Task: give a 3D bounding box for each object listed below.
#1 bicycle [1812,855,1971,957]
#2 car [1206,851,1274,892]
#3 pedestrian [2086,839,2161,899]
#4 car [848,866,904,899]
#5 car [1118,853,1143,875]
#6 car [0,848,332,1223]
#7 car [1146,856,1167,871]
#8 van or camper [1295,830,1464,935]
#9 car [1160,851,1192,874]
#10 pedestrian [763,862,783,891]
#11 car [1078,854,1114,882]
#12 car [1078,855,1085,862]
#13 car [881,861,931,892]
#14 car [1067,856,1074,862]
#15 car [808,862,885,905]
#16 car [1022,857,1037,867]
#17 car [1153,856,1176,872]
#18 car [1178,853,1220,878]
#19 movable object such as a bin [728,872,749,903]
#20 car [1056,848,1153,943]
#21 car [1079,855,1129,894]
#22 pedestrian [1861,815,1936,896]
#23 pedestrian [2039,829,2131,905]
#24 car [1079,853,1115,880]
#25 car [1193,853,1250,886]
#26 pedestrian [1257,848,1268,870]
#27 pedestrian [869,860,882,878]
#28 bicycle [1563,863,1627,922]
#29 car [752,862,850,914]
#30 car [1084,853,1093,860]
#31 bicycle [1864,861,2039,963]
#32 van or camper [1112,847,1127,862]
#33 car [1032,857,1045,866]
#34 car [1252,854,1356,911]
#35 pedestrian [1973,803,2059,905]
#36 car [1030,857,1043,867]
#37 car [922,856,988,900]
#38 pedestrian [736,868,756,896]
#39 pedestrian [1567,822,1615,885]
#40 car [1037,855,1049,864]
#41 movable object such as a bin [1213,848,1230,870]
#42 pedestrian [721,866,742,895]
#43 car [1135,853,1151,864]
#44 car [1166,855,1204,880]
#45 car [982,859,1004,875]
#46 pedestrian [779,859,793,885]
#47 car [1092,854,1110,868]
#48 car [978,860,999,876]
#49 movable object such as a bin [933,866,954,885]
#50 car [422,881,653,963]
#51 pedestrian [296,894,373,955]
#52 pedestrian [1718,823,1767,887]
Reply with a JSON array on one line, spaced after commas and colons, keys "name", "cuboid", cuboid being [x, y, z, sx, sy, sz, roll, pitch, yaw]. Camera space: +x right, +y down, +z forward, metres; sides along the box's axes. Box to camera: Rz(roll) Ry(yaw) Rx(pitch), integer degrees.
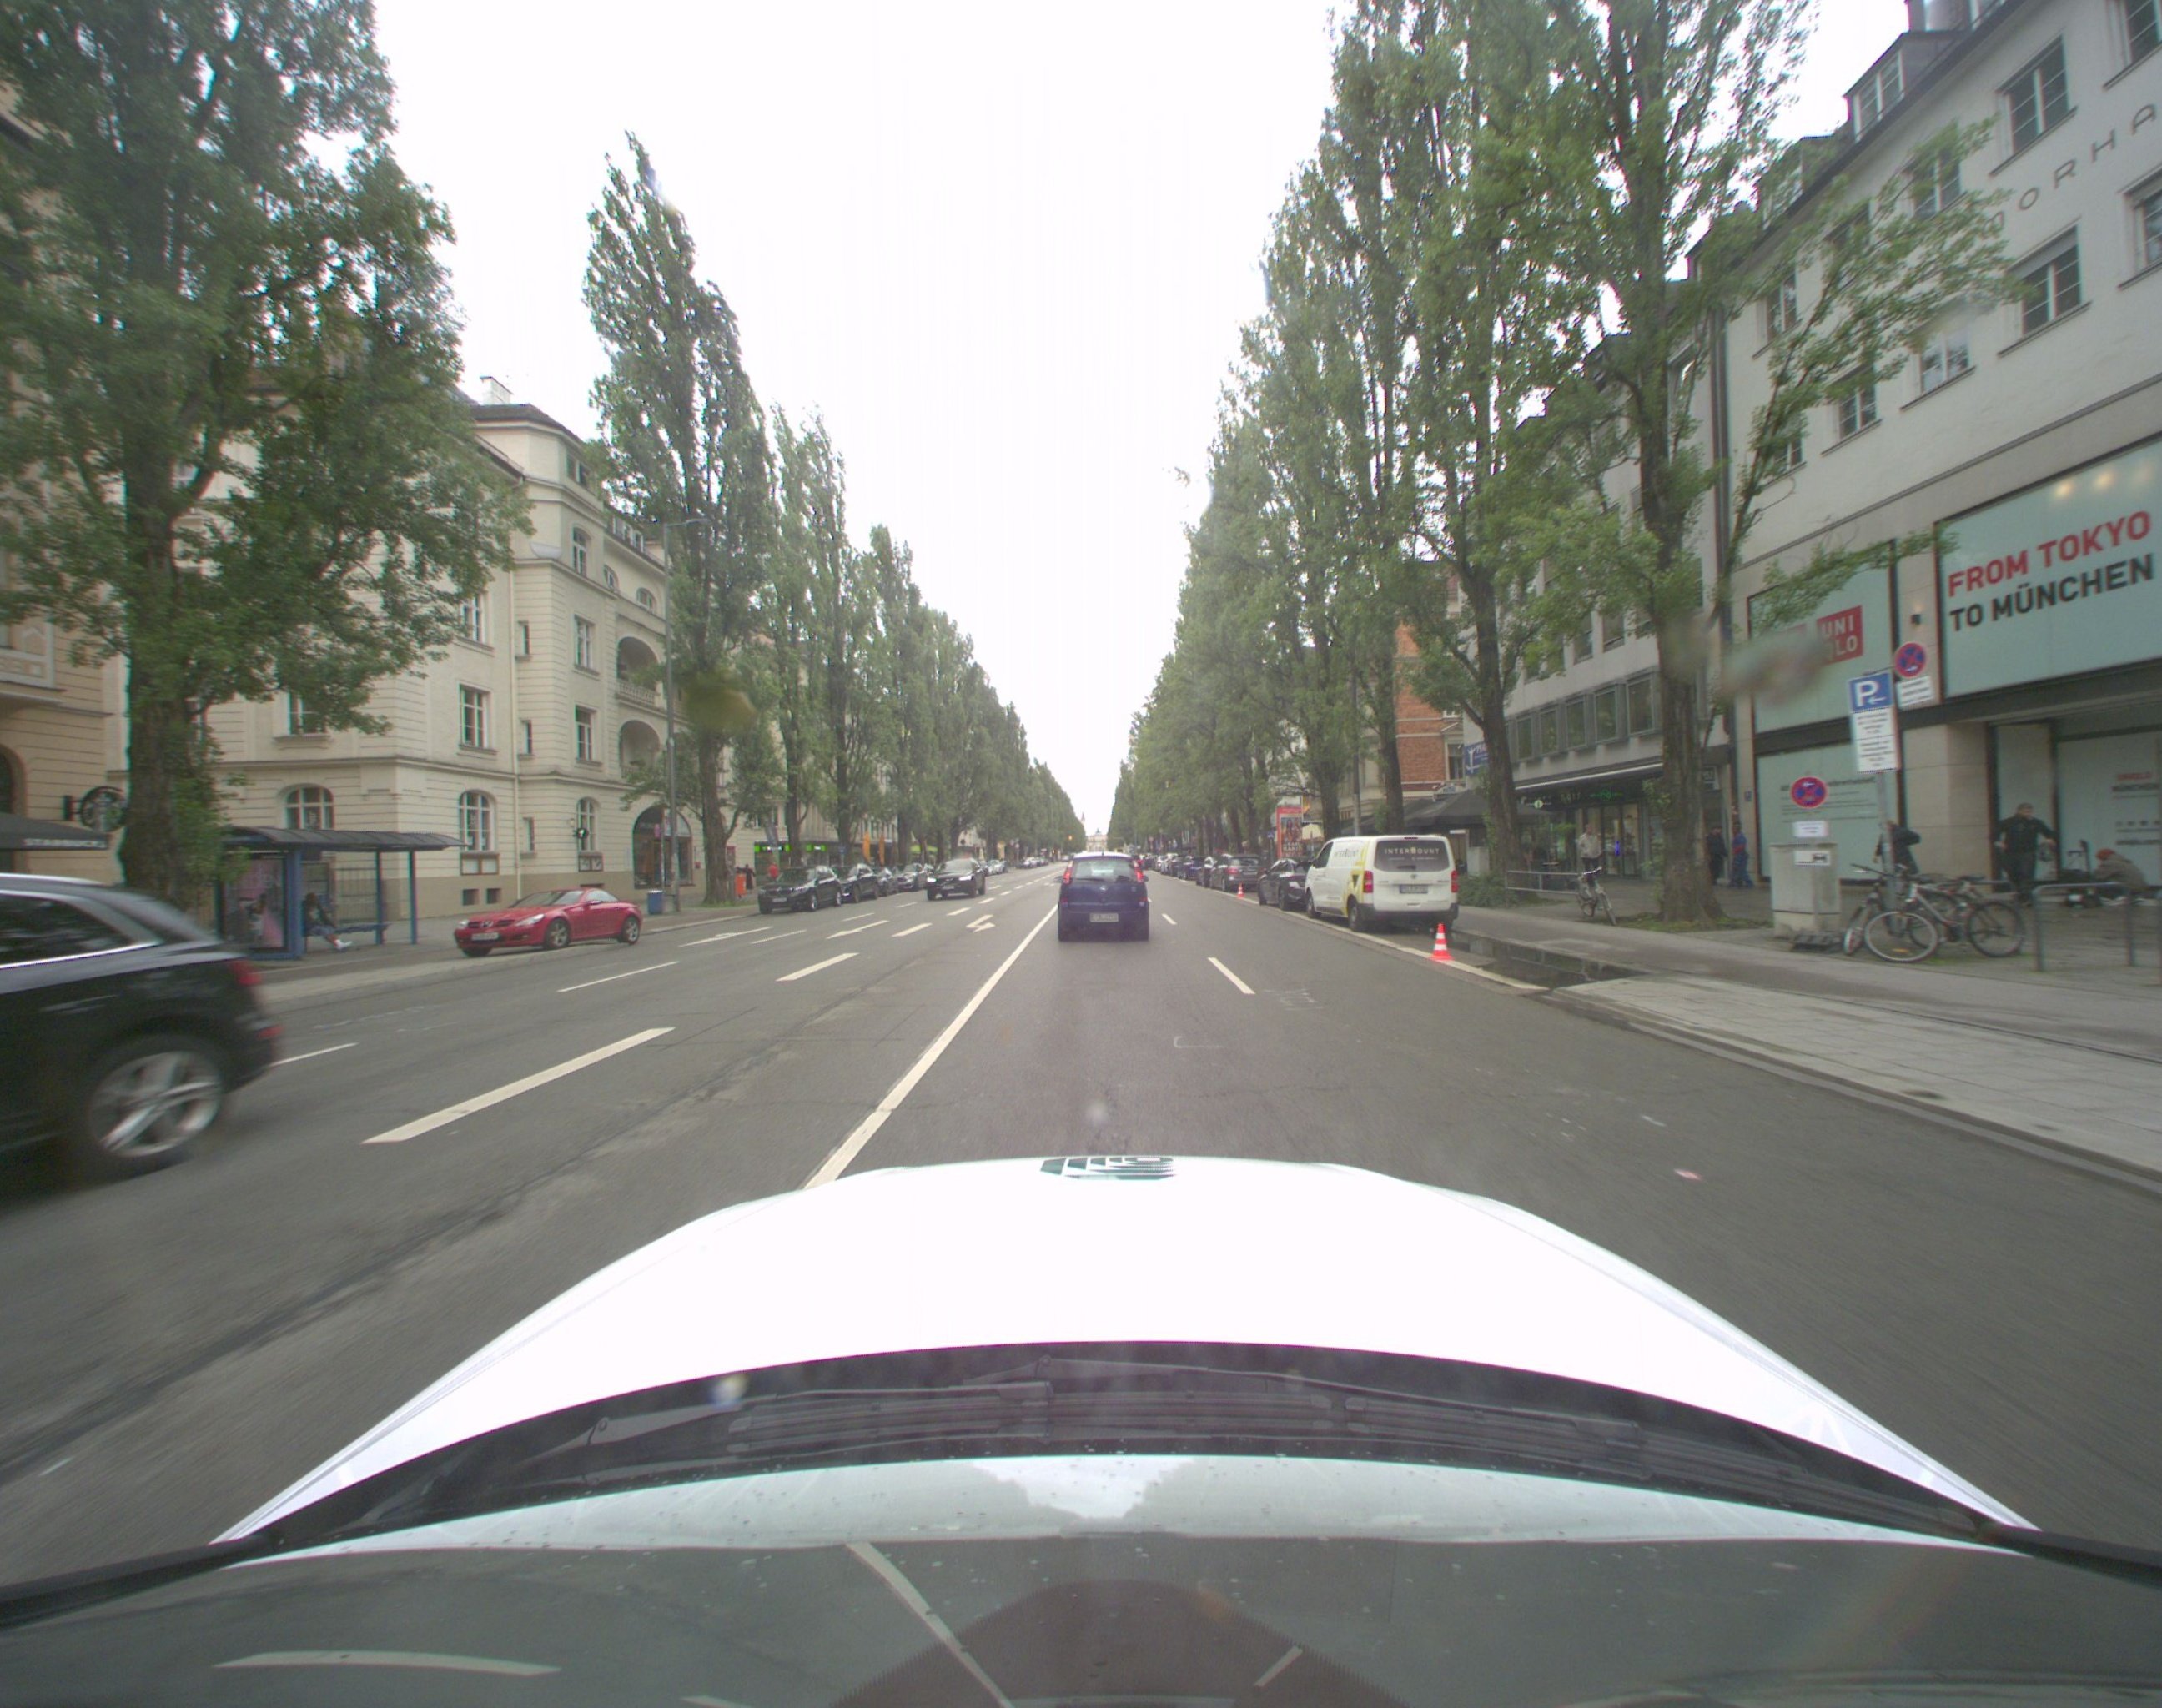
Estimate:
[{"name": "bicycle", "cuboid": [10.269, 0.636, 10.324, 1.738, 1.110, 0.447, -5, 0, -9]}, {"name": "car", "cuboid": [6.512, 0.689, 33.848, 1.812, 1.506, 4.229, -2, 0, -2]}, {"name": "pedestrian", "cuboid": [17.578, 0.243, 13.674, 0.568, 0.969, 0.672, -2, 0, 2]}, {"name": "car", "cuboid": [-10.079, 1.363, 40.343, 1.680, 1.424, 4.684, -4, 0, -2]}, {"name": "car", "cuboid": [3.672, 0.711, 60.856, 1.700, 1.574, 4.001, -2, 0, 1]}, {"name": "car", "cuboid": [-5.849, 0.874, 2.934, 1.907, 1.680, 4.587, -4, 0, 1]}, {"name": "car", "cuboid": [7.223, 0.891, 78.080, 1.676, 1.415, 3.583, 0, 0, 0]}, {"name": "van or camper", "cuboid": [6.127, 0.531, 17.396, 1.862, 1.883, 4.904, -1, 0, 1]}, {"name": "car", "cuboid": [7.115, 0.636, 61.381, 1.821, 1.621, 4.747, -1, 0, 0]}, {"name": "pedestrian", "cuboid": [-18.076, 1.295, 47.762, 0.731, 1.673, 0.953, -2, 0, 1]}, {"name": "car", "cuboid": [0.936, 0.805, 48.188, 1.986, 1.530, 4.002, -2, 0, 2]}, {"name": "car", "cuboid": [0.109, 1.248, 228.392, 1.829, 1.677, 3.779, -2, 0, 1]}, {"name": "car", "cuboid": [-9.715, 1.228, 45.450, 1.775, 1.575, 4.133, -2, 0, 1]}, {"name": "car", "cuboid": [-2.840, 1.366, 230.682, 1.829, 1.739, 3.779, -2, 0, 1]}, {"name": "car", "cuboid": [-10.029, 1.218, 35.258, 1.796, 1.594, 4.632, -3, 0, 1]}, {"name": "car", "cuboid": [-7.421, 1.174, 117.039, 1.824, 1.420, 3.811, -1, 0, 1]}, {"name": "car", "cuboid": [7.329, 0.874, 71.525, 1.665, 1.406, 4.127, 0, 0, 0]}, {"name": "car", "cuboid": [7.077, 0.685, 49.277, 1.745, 1.405, 4.462, -2, 0, -1]}, {"name": "movable object such as a bin", "cuboid": [-15.014, 1.460, 35.696, 0.602, 1.316, 0.586, -2, 0, 1]}, {"name": "car", "cuboid": [0.425, 0.721, 16.260, 1.675, 1.641, 4.000, -1, 0, 0]}, {"name": "car", "cuboid": [0.938, 0.809, 34.772, 1.987, 1.497, 4.000, -2, 0, 0]}, {"name": "pedestrian", "cuboid": [16.818, 0.026, 16.768, 0.668, 1.609, 0.828, -2, 0, 0]}, {"name": "pedestrian", "cuboid": [16.905, 0.212, 13.727, 0.667, 1.234, 0.685, -2, 0, 2]}, {"name": "car", "cuboid": [0.942, 0.700, 48.643, 1.987, 1.497, 4.000, -2, 0, 0]}, {"name": "car", "cuboid": [6.632, 0.702, 38.855, 1.872, 1.432, 4.804, -2, 0, 0]}, {"name": "pedestrian", "cuboid": [15.390, 0.428, 69.131, 0.726, 1.802, 0.932, -2, 0, 1]}, {"name": "pedestrian", "cuboid": [-19.478, 1.417, 77.276, 0.848, 1.744, 1.148, -2, 0, 1]}, {"name": "bicycle", "cuboid": [9.967, 0.723, 15.844, 0.362, 1.038, 1.735, -2, 0, 9]}, {"name": "car", "cuboid": [-10.207, 1.193, 30.087, 1.813, 1.618, 4.717, -3, 0, 1]}, {"name": "car", "cuboid": [1.618, 0.476, 176.264, 1.955, 1.399, 3.779, -2, 0, 1]}, {"name": "bicycle", "cuboid": [10.294, 0.661, 9.636, 1.757, 1.044, 0.482, -4, 0, -9]}, {"name": "van or camper", "cuboid": [7.258, 0.115, 153.953, 2.468, 2.581, 5.846, -2, 0, 1]}, {"name": "car", "cuboid": [-7.632, 1.362, 145.736, 1.955, 1.399, 3.779, -2, 0, 1]}, {"name": "car", "cuboid": [6.130, 0.735, 22.874, 1.714, 1.442, 4.352, 0, 0, -1]}, {"name": "pedestrian", "cuboid": [16.731, -0.006, 14.586, 0.686, 1.764, 0.859, -2, 0, -30]}, {"name": "car", "cuboid": [-7.627, 1.395, 140.152, 1.955, 1.530, 3.999, -2, 0, 0]}, {"name": "car", "cuboid": [-5.176, 0.936, 34.000, 1.928, 1.623, 4.337, -4, 0, 1]}, {"name": "pedestrian", "cuboid": [-18.503, 1.523, 44.972, 0.766, 1.537, 0.805, 0, -1, 1]}, {"name": "pedestrian", "cuboid": [15.583, -0.017, 24.908, 0.821, 1.841, 1.102, -2, 0, 9]}, {"name": "car", "cuboid": [-7.256, 1.000, 156.457, 1.987, 1.662, 4.000, -2, 0, 0]}, {"name": "movable object such as a bin", "cuboid": [11.621, 0.419, 67.528, 1.030, 1.703, 1.585, -2, 0, -3]}, {"name": "pedestrian", "cuboid": [-19.295, 1.480, 44.939, 0.766, 1.537, 0.805, -3, 0, 1]}, {"name": "car", "cuboid": [8.252, 0.592, 108.775, 1.890, 1.362, 3.901, -2, 0, 1]}, {"name": "car", "cuboid": [7.071, 0.866, 55.791, 1.987, 1.565, 4.483, -2, 0, 0]}, {"name": "car", "cuboid": [-9.111, 1.288, 84.527, 1.830, 1.546, 4.085, -2, 0, -1]}, {"name": "pedestrian", "cuboid": [-20.142, 1.225, 55.637, 0.623, 1.721, 0.827, -2, 0, 0]}, {"name": "car", "cuboid": [2.384, 0.820, 96.942, 1.987, 1.497, 4.000, -2, 0, 0]}, {"name": "car", "cuboid": [-9.133, 1.389, 80.687, 1.566, 1.534, 2.925, -2, 0, 3]}, {"name": "movable object such as a bin", "cuboid": [-9.600, 1.481, 56.914, 1.272, 1.310, 0.902, -1, 0, 1]}, {"name": "car", "cuboid": [-11.003, 1.314, 16.922, 1.871, 1.298, 4.097, -2, 0, 3]}, {"name": "pedestrian", "cuboid": [-16.099, 1.506, 17.589, 0.957, 1.256, 0.757, -1, 0, 3]}, {"name": "pedestrian", "cuboid": [17.074, 0.030, 21.050, 0.666, 1.609, 0.773, -1, -1, 8]}]
